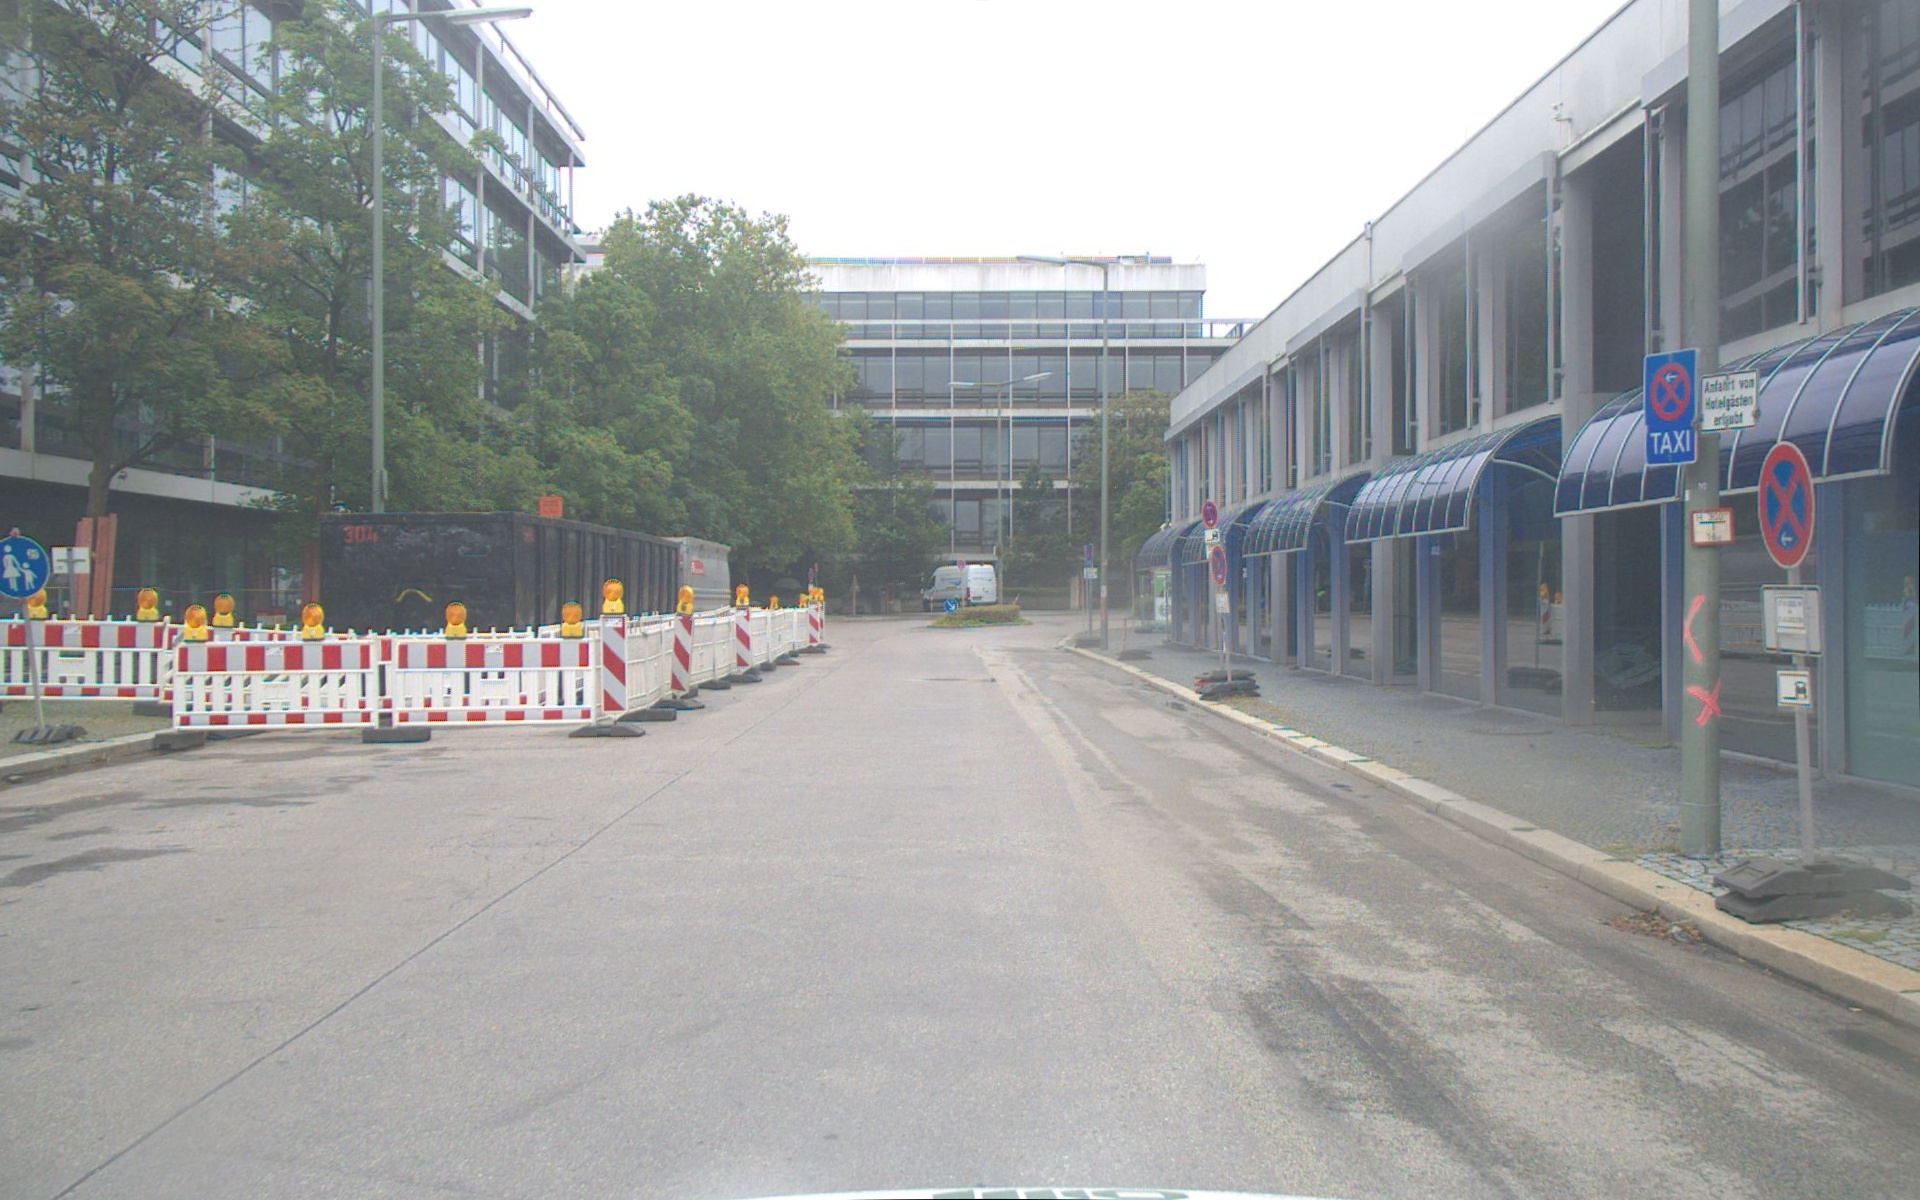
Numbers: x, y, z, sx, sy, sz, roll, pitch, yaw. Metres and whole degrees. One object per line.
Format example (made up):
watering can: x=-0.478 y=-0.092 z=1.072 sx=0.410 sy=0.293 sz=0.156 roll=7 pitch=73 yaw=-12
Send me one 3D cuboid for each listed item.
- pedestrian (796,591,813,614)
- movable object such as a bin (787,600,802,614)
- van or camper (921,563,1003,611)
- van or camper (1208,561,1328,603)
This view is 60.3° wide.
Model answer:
pedestrian: x=-8.827 y=0.123 z=93.834 sx=0.907 sy=1.300 sz=0.542 roll=0 pitch=0 yaw=1
movable object such as a bin: x=-9.382 y=0.378 z=93.792 sx=0.817 sy=0.766 sz=0.572 roll=0 pitch=0 yaw=2
van or camper: x=0.059 y=-0.704 z=96.090 sx=2.129 sy=2.626 sz=6.484 roll=0 pitch=-1 yaw=-26
van or camper: x=17.365 y=-1.040 z=93.324 sx=6.290 sy=2.321 sz=2.246 roll=-1 pitch=0 yaw=-15
